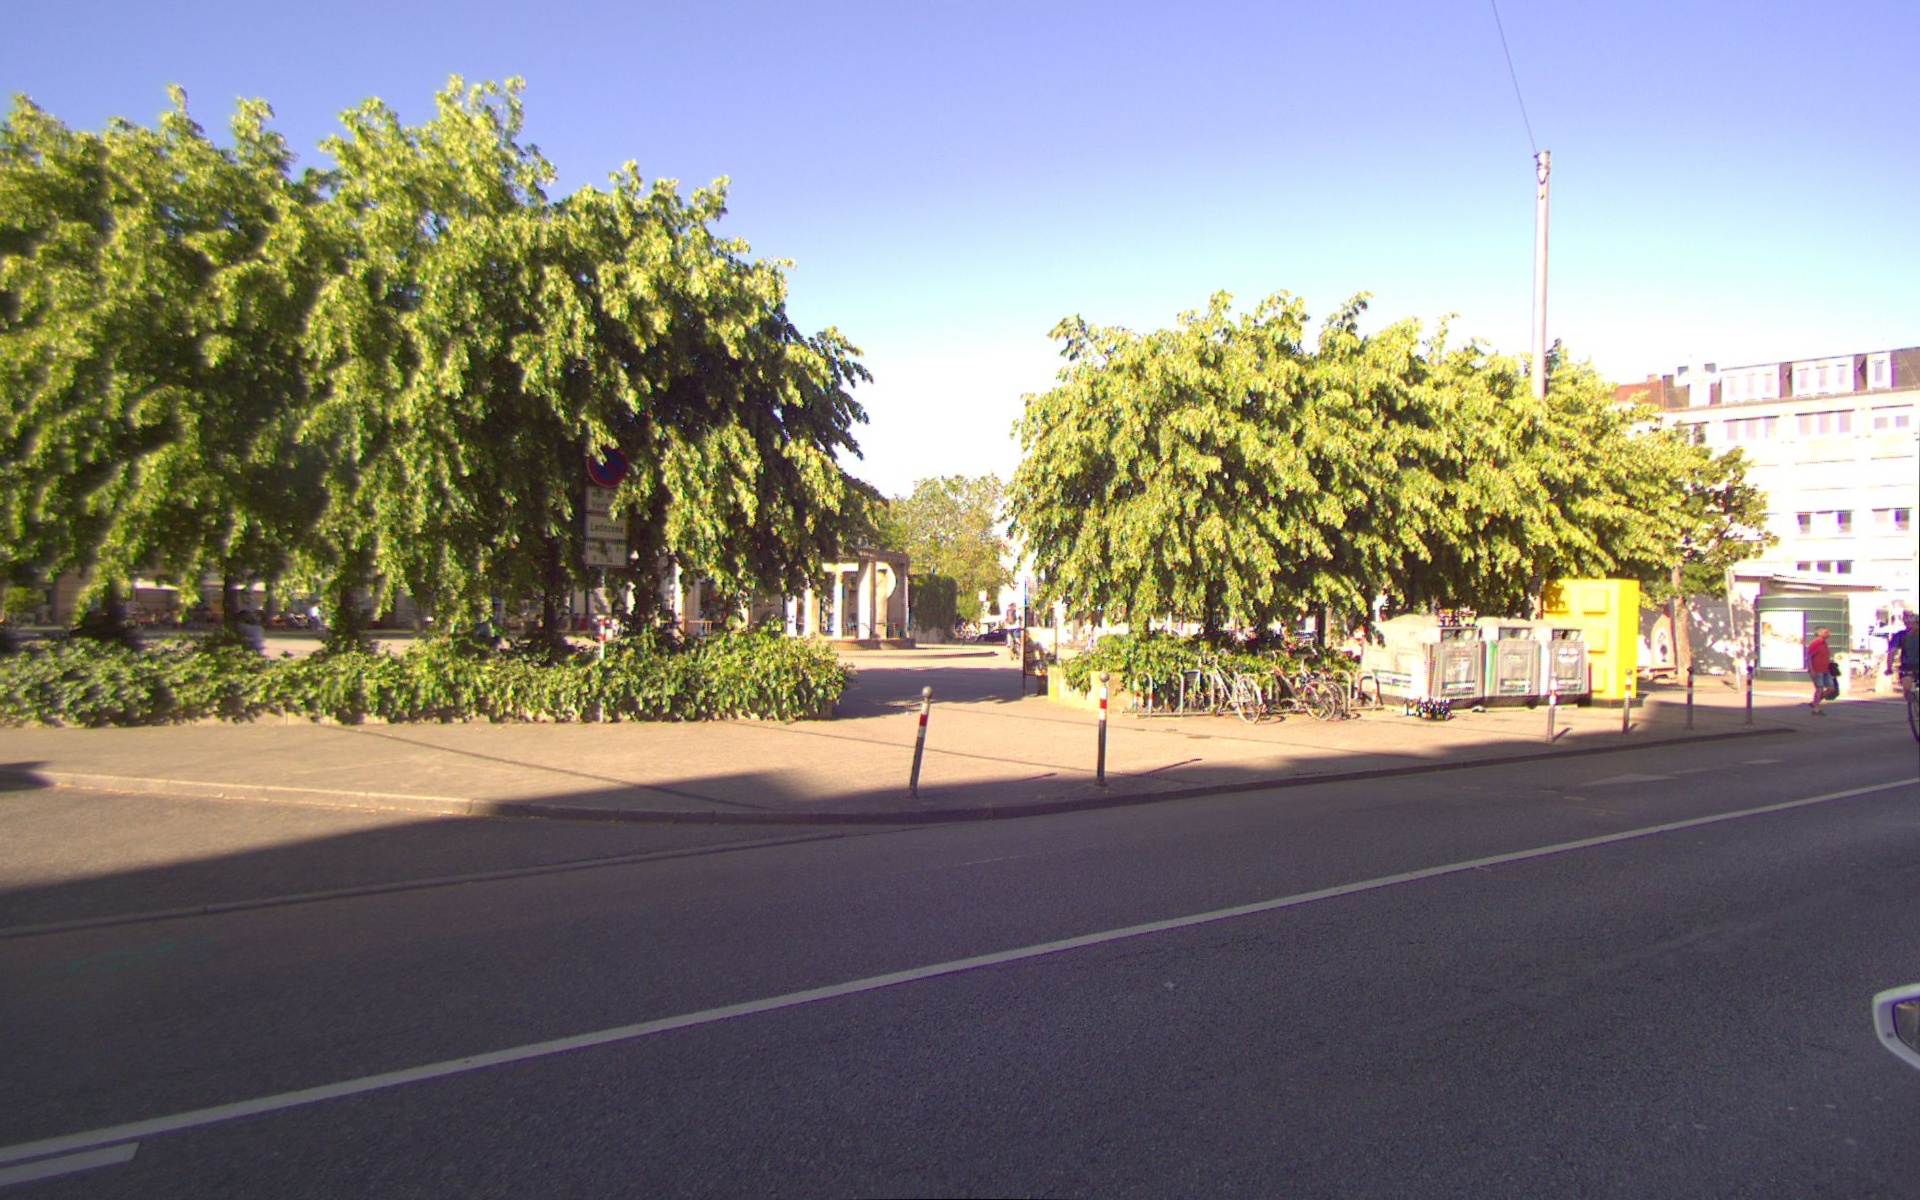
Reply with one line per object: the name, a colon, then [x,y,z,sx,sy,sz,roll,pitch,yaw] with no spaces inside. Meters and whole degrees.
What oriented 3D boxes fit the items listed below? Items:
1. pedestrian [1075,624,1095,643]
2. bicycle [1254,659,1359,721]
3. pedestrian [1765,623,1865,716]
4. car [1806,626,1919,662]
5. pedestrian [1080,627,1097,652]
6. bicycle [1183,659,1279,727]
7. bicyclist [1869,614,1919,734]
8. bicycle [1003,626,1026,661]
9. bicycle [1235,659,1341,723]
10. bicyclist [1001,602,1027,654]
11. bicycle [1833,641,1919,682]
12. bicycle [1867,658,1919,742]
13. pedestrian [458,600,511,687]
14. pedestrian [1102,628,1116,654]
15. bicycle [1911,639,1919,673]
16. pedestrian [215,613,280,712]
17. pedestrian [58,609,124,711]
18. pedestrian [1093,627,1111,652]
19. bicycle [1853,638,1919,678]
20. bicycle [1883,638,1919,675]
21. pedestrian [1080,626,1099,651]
pedestrian: [8.117,2.180,65.123,0.891,1.230,0.859,2,0,-34]
bicycle: [5.666,1.451,16.490,0.465,0.870,1.654,2,0,-35]
pedestrian: [16.970,1.364,19.961,1.045,1.742,1.109,2,0,-18]
car: [51.650,2.474,57.309,5.134,1.891,1.875,0,-1,40]
pedestrian: [8.021,2.462,62.550,0.904,1.541,0.936,2,0,15]
bicycle: [4.168,1.409,15.536,0.464,0.897,1.558,2,0,-29]
bicyclist: [14.049,1.087,14.834,0.802,1.731,0.696,2,-4,-35]
bicycle: [1.857,1.457,34.099,0.593,1.116,1.990,2,0,8]
bicycle: [5.268,1.441,16.195,0.465,0.870,1.659,2,0,-35]
bicyclist: [1.829,0.929,33.910,0.772,1.722,0.896,2,0,6]
bicycle: [31.214,2.061,33.773,0.932,1.211,2.645,2,0,-32]
bicycle: [14.137,1.449,14.870,1.938,1.177,0.612,2,-4,-36]
pedestrian: [-8.758,0.788,18.492,0.688,1.541,0.676,2,0,-41]
pedestrian: [9.166,2.492,61.771,0.762,1.541,0.838,2,0,1]
bicycle: [37.239,2.152,37.286,0.932,1.276,2.648,2,0,-32]
pedestrian: [-10.858,0.932,15.311,0.581,1.456,0.615,2,0,33]
pedestrian: [-12.865,0.869,14.894,0.615,1.456,0.647,2,0,-32]
pedestrian: [9.256,2.550,65.330,1.003,1.541,1.036,2,0,15]
bicycle: [33.136,2.037,35.075,0.923,1.291,2.764,2,0,-32]
bicycle: [35.255,2.081,36.141,0.932,1.287,2.859,2,0,-32]
pedestrian: [9.957,2.964,77.129,1.275,1.867,1.102,2,0,2]
